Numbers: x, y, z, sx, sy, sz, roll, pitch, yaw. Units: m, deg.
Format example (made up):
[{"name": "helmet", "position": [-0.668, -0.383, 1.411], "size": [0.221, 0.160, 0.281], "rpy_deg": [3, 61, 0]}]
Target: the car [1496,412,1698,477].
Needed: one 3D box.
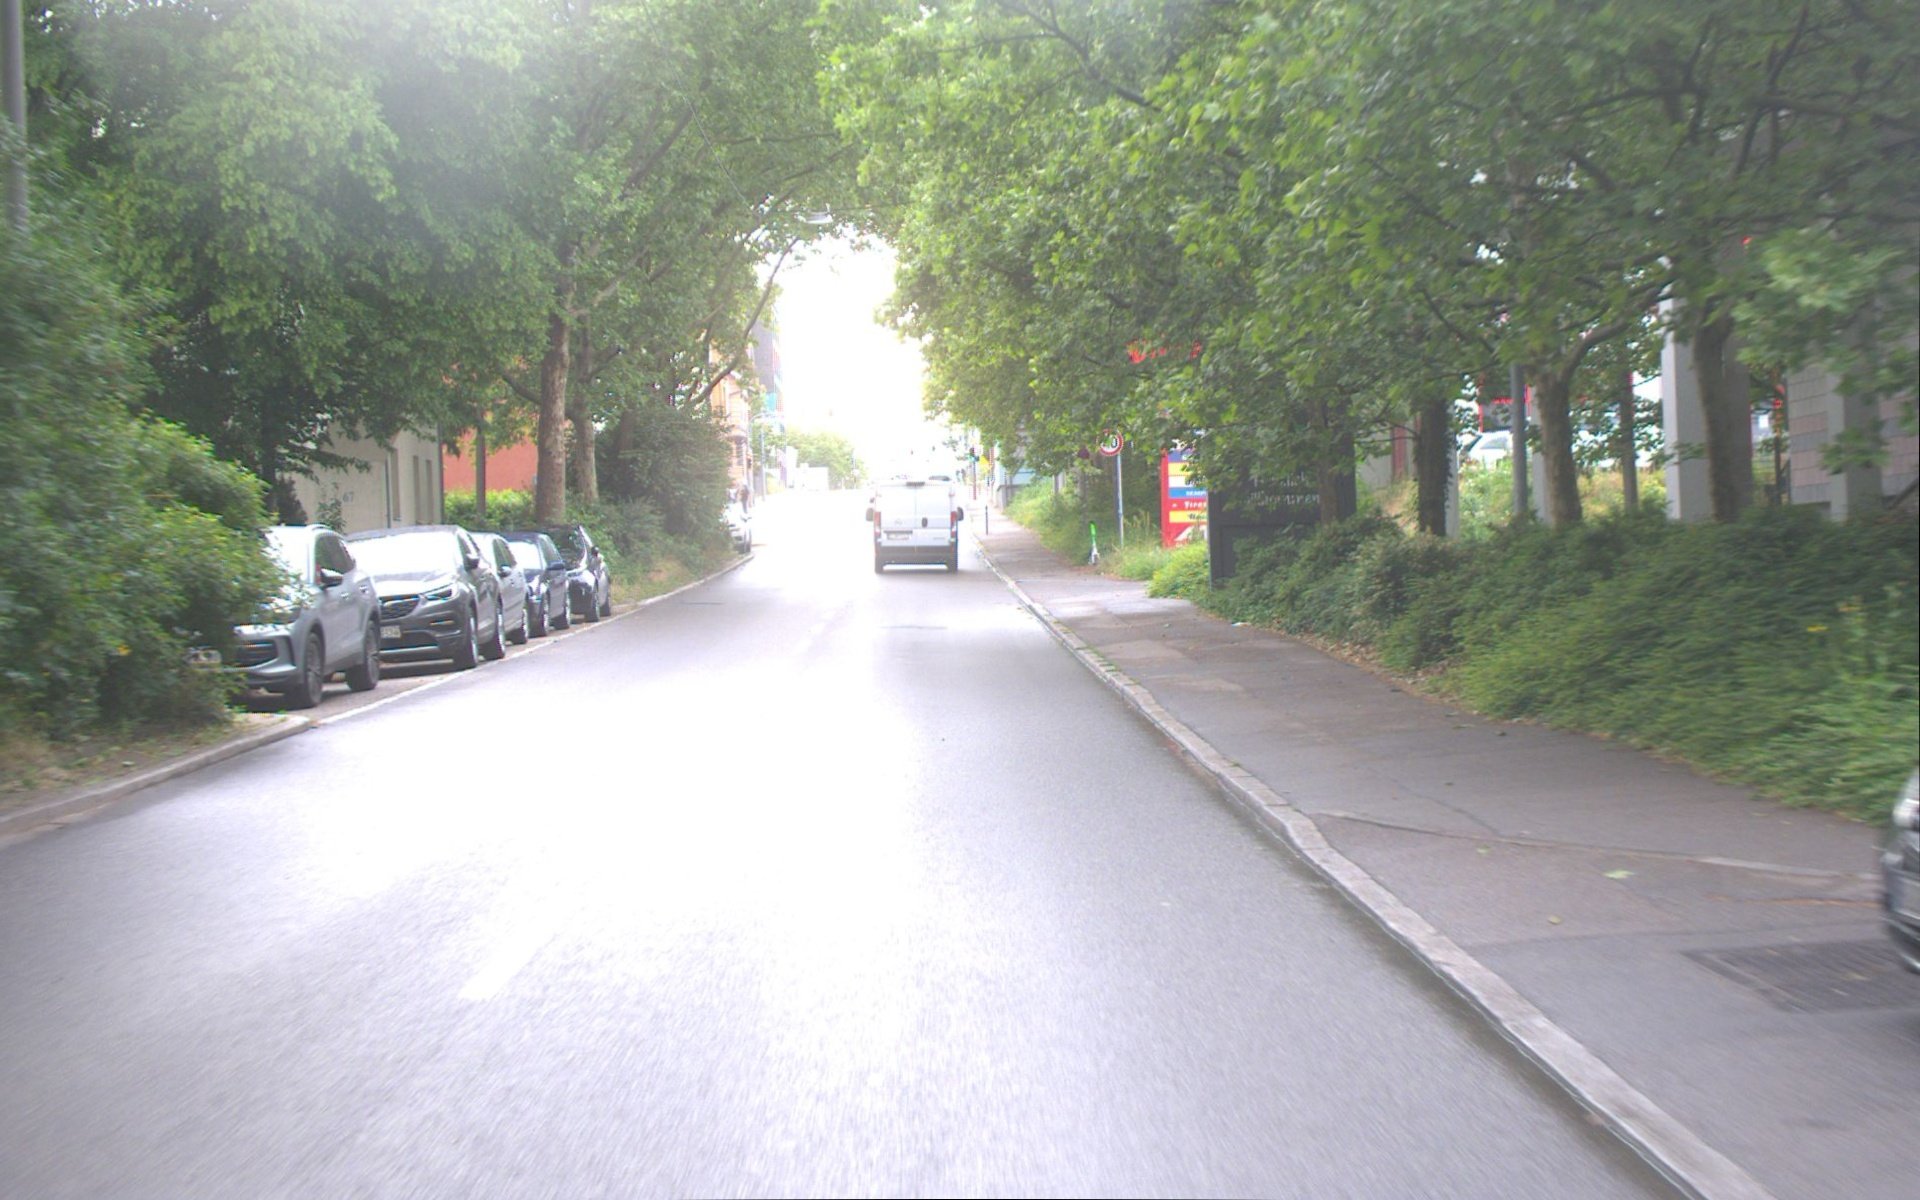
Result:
[{"name": "car", "position": [14.060, -3.422, 76.063], "size": [4.100, 1.371, 1.903], "rpy_deg": [0, 1, 0]}]

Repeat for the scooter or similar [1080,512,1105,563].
[{"name": "scooter or similar", "position": [3.052, -1.445, 79.281], "size": [0.425, 1.138, 1.529], "rpy_deg": [0, 0, -2]}]

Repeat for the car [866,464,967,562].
[{"name": "car", "position": [-1.031, -2.103, 84.027], "size": [2.336, 2.223, 4.000], "rpy_deg": [-2, 0, 0]}]

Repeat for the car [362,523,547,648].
[{"name": "car", "position": [-6.369, -0.223, 43.661], "size": [1.672, 1.503, 4.123], "rpy_deg": [0, 1, 1]}]

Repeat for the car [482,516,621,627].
[{"name": "car", "position": [-6.398, -0.479, 54.178], "size": [1.647, 1.532, 4.019], "rpy_deg": [-5, 1, -1]}]

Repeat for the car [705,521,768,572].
[{"name": "car", "position": [-7.060, -1.709, 109.029], "size": [1.691, 1.537, 4.117], "rpy_deg": [-2, 1, 0]}]

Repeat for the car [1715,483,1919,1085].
[{"name": "car", "position": [4.309, 0.345, 9.397], "size": [3.848, 1.542, 2.027], "rpy_deg": [-4, 1, -6]}]

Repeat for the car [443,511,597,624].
[{"name": "car", "position": [-6.173, -0.489, 48.600], "size": [1.672, 1.503, 3.874], "rpy_deg": [1, 2, 0]}]

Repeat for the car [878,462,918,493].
[{"name": "car", "position": [-3.749, -7.446, 208.538], "size": [2.159, 1.703, 3.872], "rpy_deg": [0, 0, 4]}]

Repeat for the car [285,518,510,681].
[{"name": "car", "position": [-6.189, -0.055, 38.271], "size": [1.864, 1.585, 4.240], "rpy_deg": [-4, 2, -2]}]

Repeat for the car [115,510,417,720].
[{"name": "car", "position": [-6.441, 0.071, 32.398], "size": [1.734, 1.651, 4.564], "rpy_deg": [-5, 2, 1]}]
